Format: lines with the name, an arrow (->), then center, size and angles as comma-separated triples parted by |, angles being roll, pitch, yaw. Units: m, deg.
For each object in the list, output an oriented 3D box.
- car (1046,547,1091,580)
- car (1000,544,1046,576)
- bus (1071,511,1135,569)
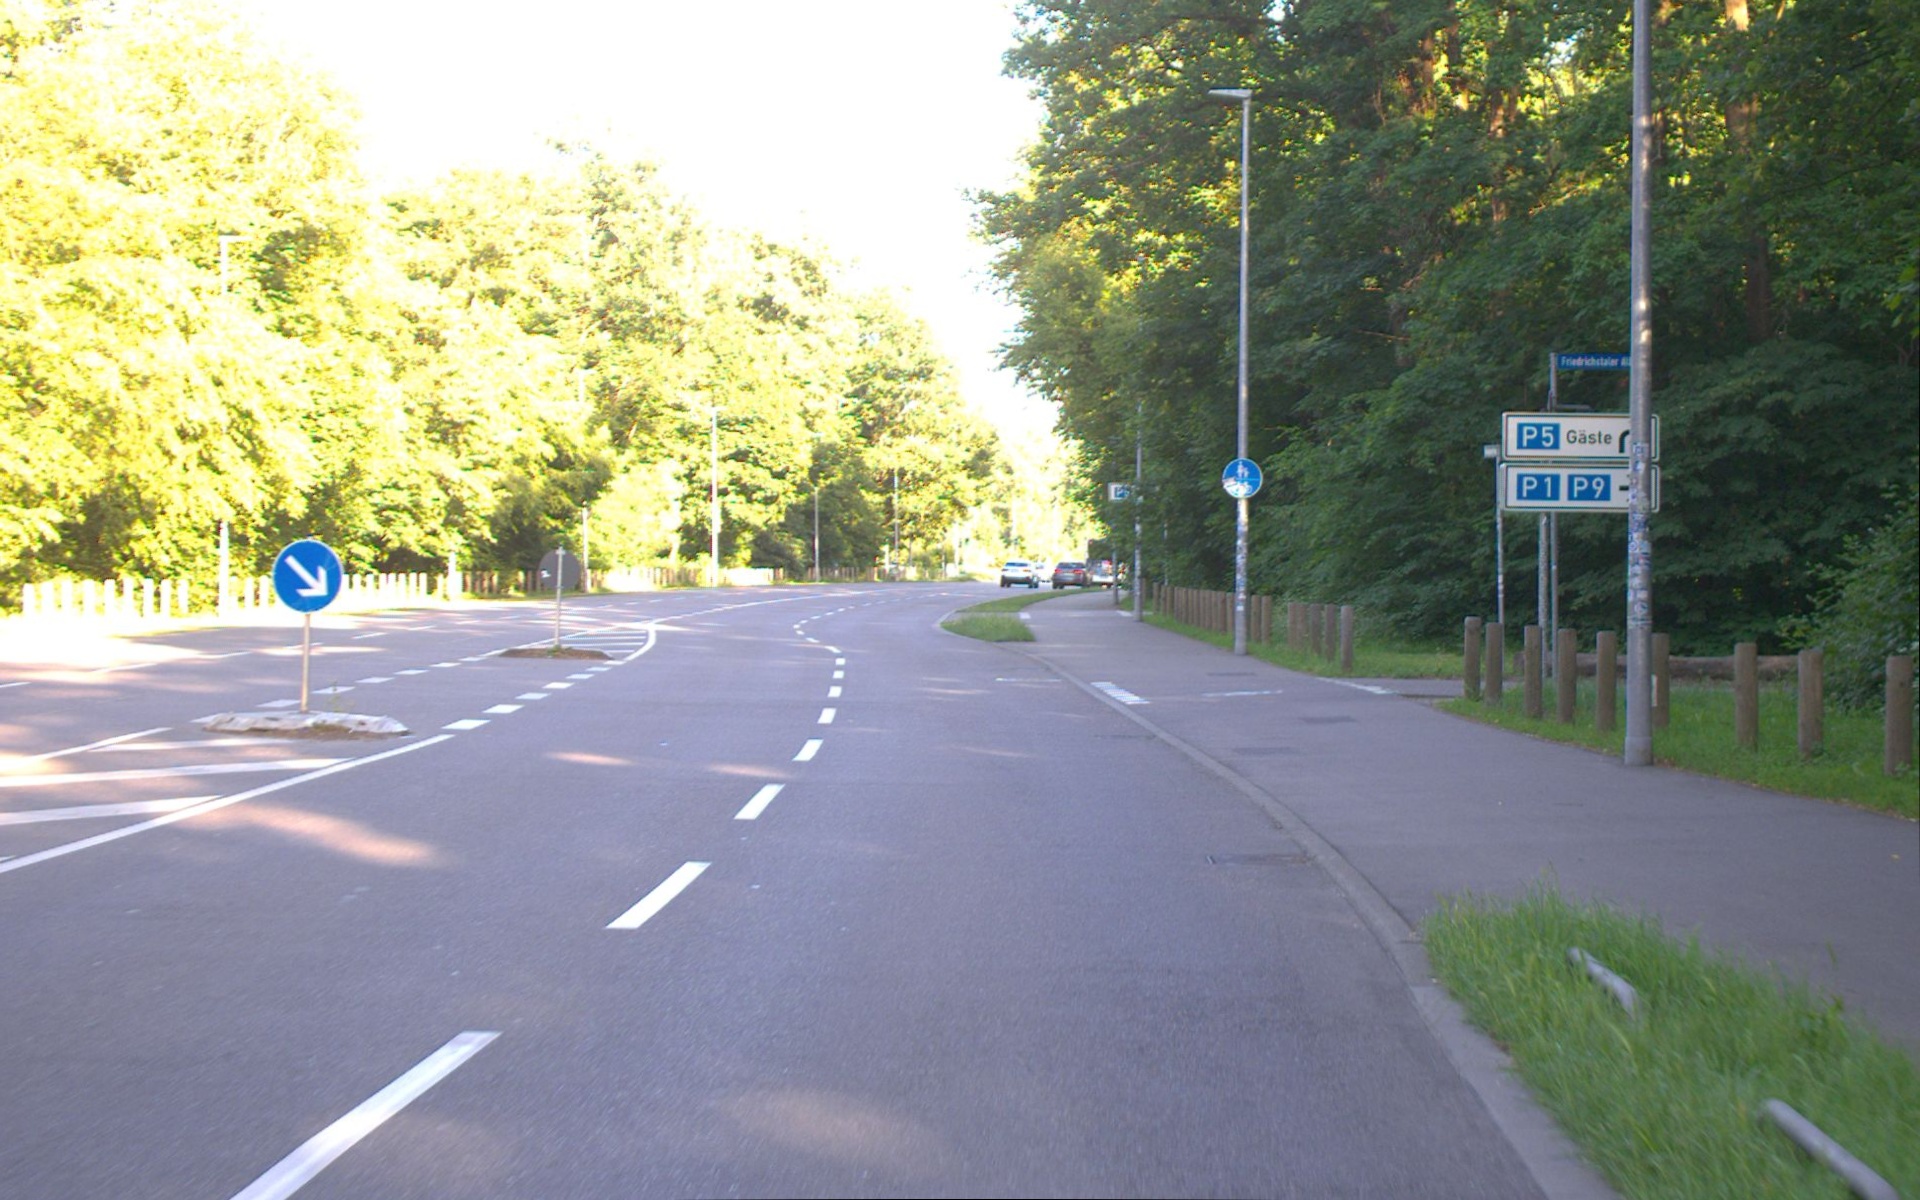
car -> 6.067, -2.034, 192.165 | 1.881, 1.759, 3.998 | 1, 1, 11
car -> 3.547, -2.262, 192.618 | 1.881, 1.703, 3.998 | 1, 1, 11
bus -> 8.641, -3.639, 206.649 | 2.606, 3.357, 7.972 | 2, 2, 11
